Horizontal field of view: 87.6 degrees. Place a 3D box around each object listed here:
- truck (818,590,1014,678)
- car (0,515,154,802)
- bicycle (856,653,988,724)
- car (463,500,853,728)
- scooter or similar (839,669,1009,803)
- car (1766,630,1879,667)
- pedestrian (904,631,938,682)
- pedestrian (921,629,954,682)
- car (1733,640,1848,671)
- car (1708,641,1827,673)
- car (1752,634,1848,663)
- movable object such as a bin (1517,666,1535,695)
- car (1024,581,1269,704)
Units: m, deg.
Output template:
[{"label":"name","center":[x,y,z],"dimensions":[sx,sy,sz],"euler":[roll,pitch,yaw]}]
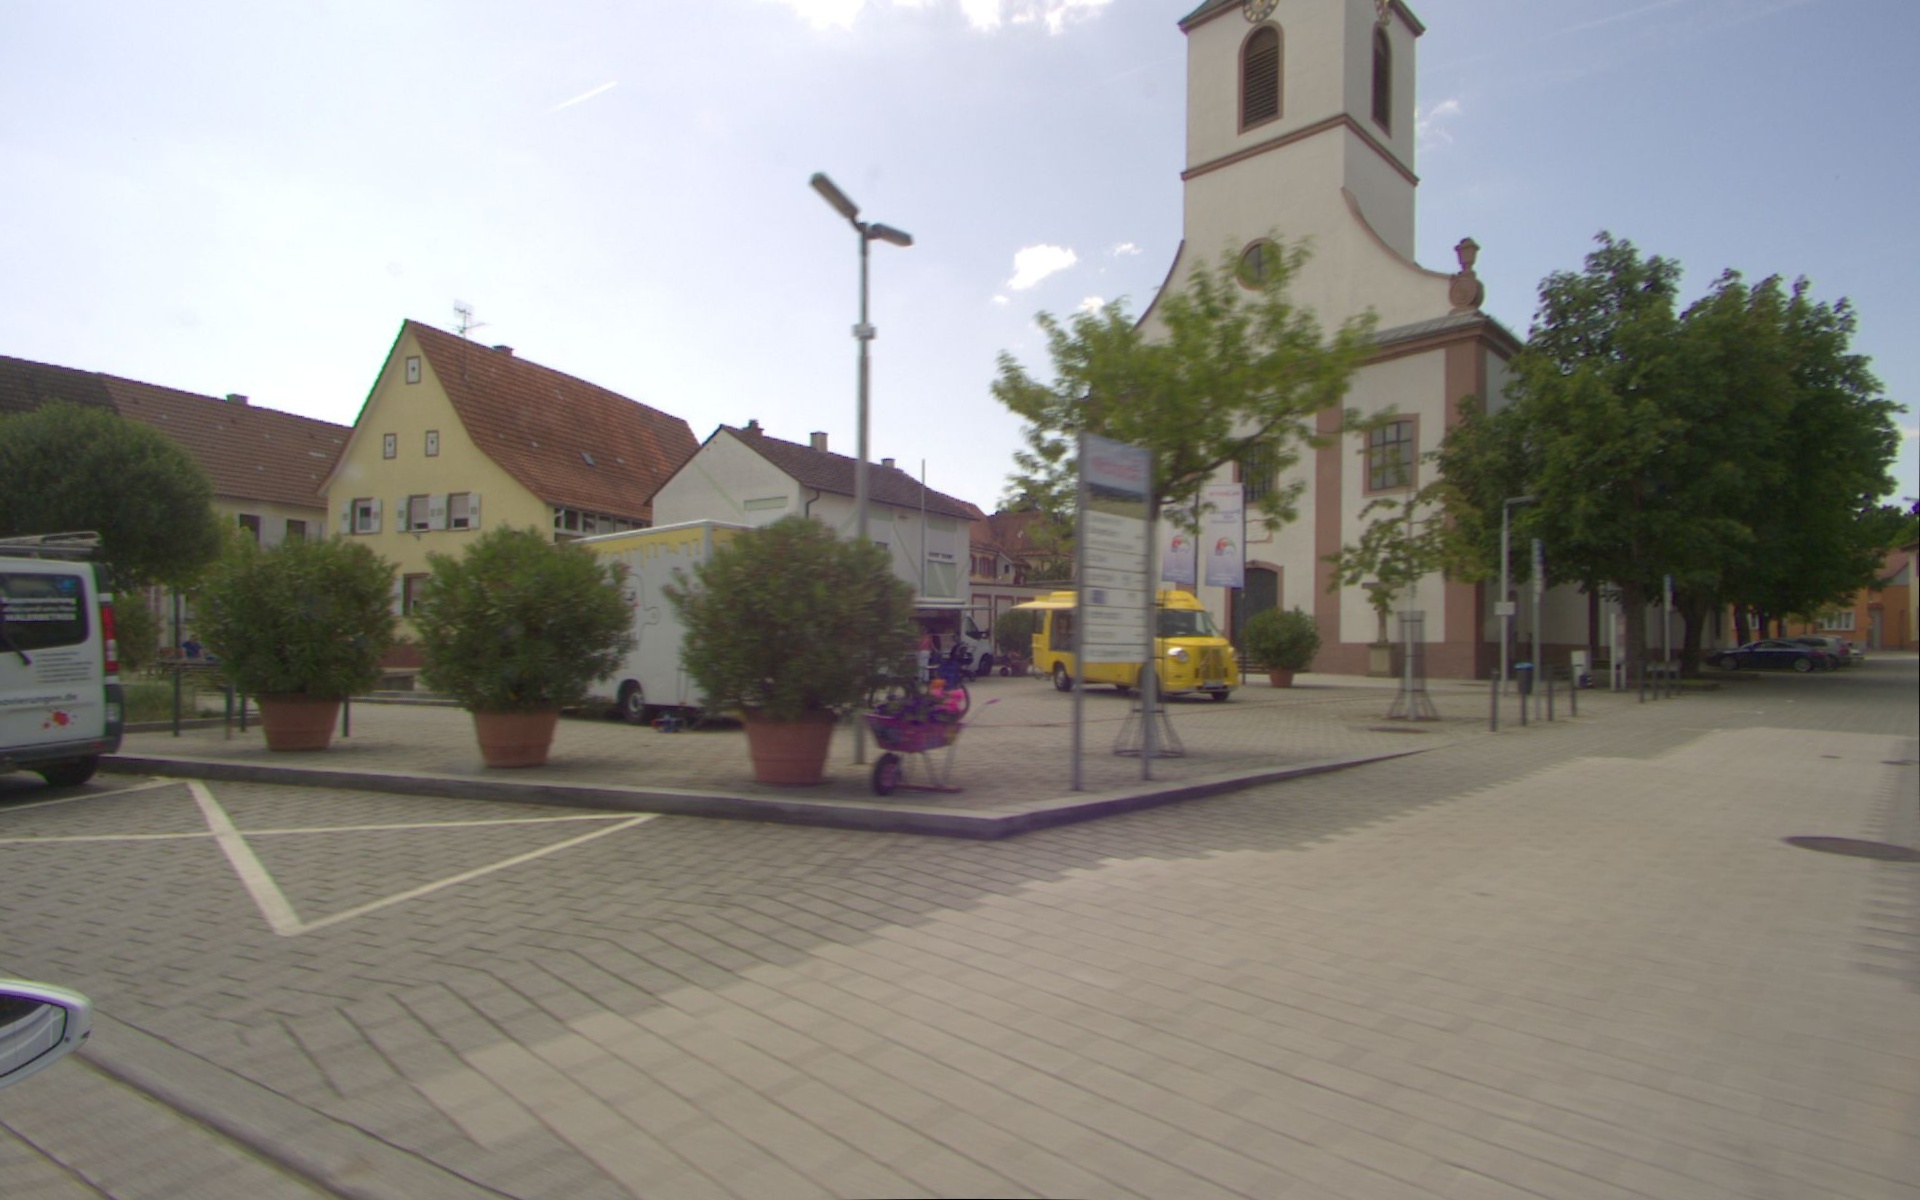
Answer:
[{"label":"truck","center":[-1.245,1.138,32.519],"dimensions":[2.917,2.529,6.789],"euler":[-1,-3,34]},{"label":"car","center":[-9.638,0.467,8.728],"dimensions":[5.015,2.206,1.943],"euler":[0,0,23]},{"label":"bicycle","center":[-0.635,1.447,16.660],"dimensions":[2.076,1.082,0.755],"euler":[0,-2,23]},{"label":"car","center":[-5.195,0.354,16.482],"dimensions":[7.031,2.999,2.742],"euler":[-2,-4,40]},{"label":"scooter or similar","center":[-0.251,0.997,7.680],"dimensions":[0.804,0.892,1.140],"euler":[-1,-2,32]},{"label":"car","center":[40.670,2.274,47.275],"dimensions":[3.957,1.679,1.984],"euler":[-1,-3,43]},{"label":"pedestrian","center":[-1.143,1.655,29.514],"dimensions":[0.750,1.460,0.641],"euler":[-1,-1,33]},{"label":"pedestrian","center":[-0.677,1.664,30.203],"dimensions":[0.804,1.560,0.558],"euler":[0,-2,34]},{"label":"car","center":[36.384,2.423,43.927],"dimensions":[3.812,1.244,1.716],"euler":[-1,-3,43]},{"label":"car","center":[34.209,2.402,42.458],"dimensions":[3.812,1.244,1.716],"euler":[-1,-3,43]},{"label":"car","center":[45.921,2.651,54.798],"dimensions":[3.957,1.523,1.984],"euler":[-1,-3,43]},{"label":"movable object such as a bin","center":[14.145,2.001,25.024],"dimensions":[0.360,0.708,0.292],"euler":[0,-2,32]},{"label":"car","center":[4.162,1.010,24.188],"dimensions":[2.609,2.508,6.948],"euler":[1,-2,-21]}]
